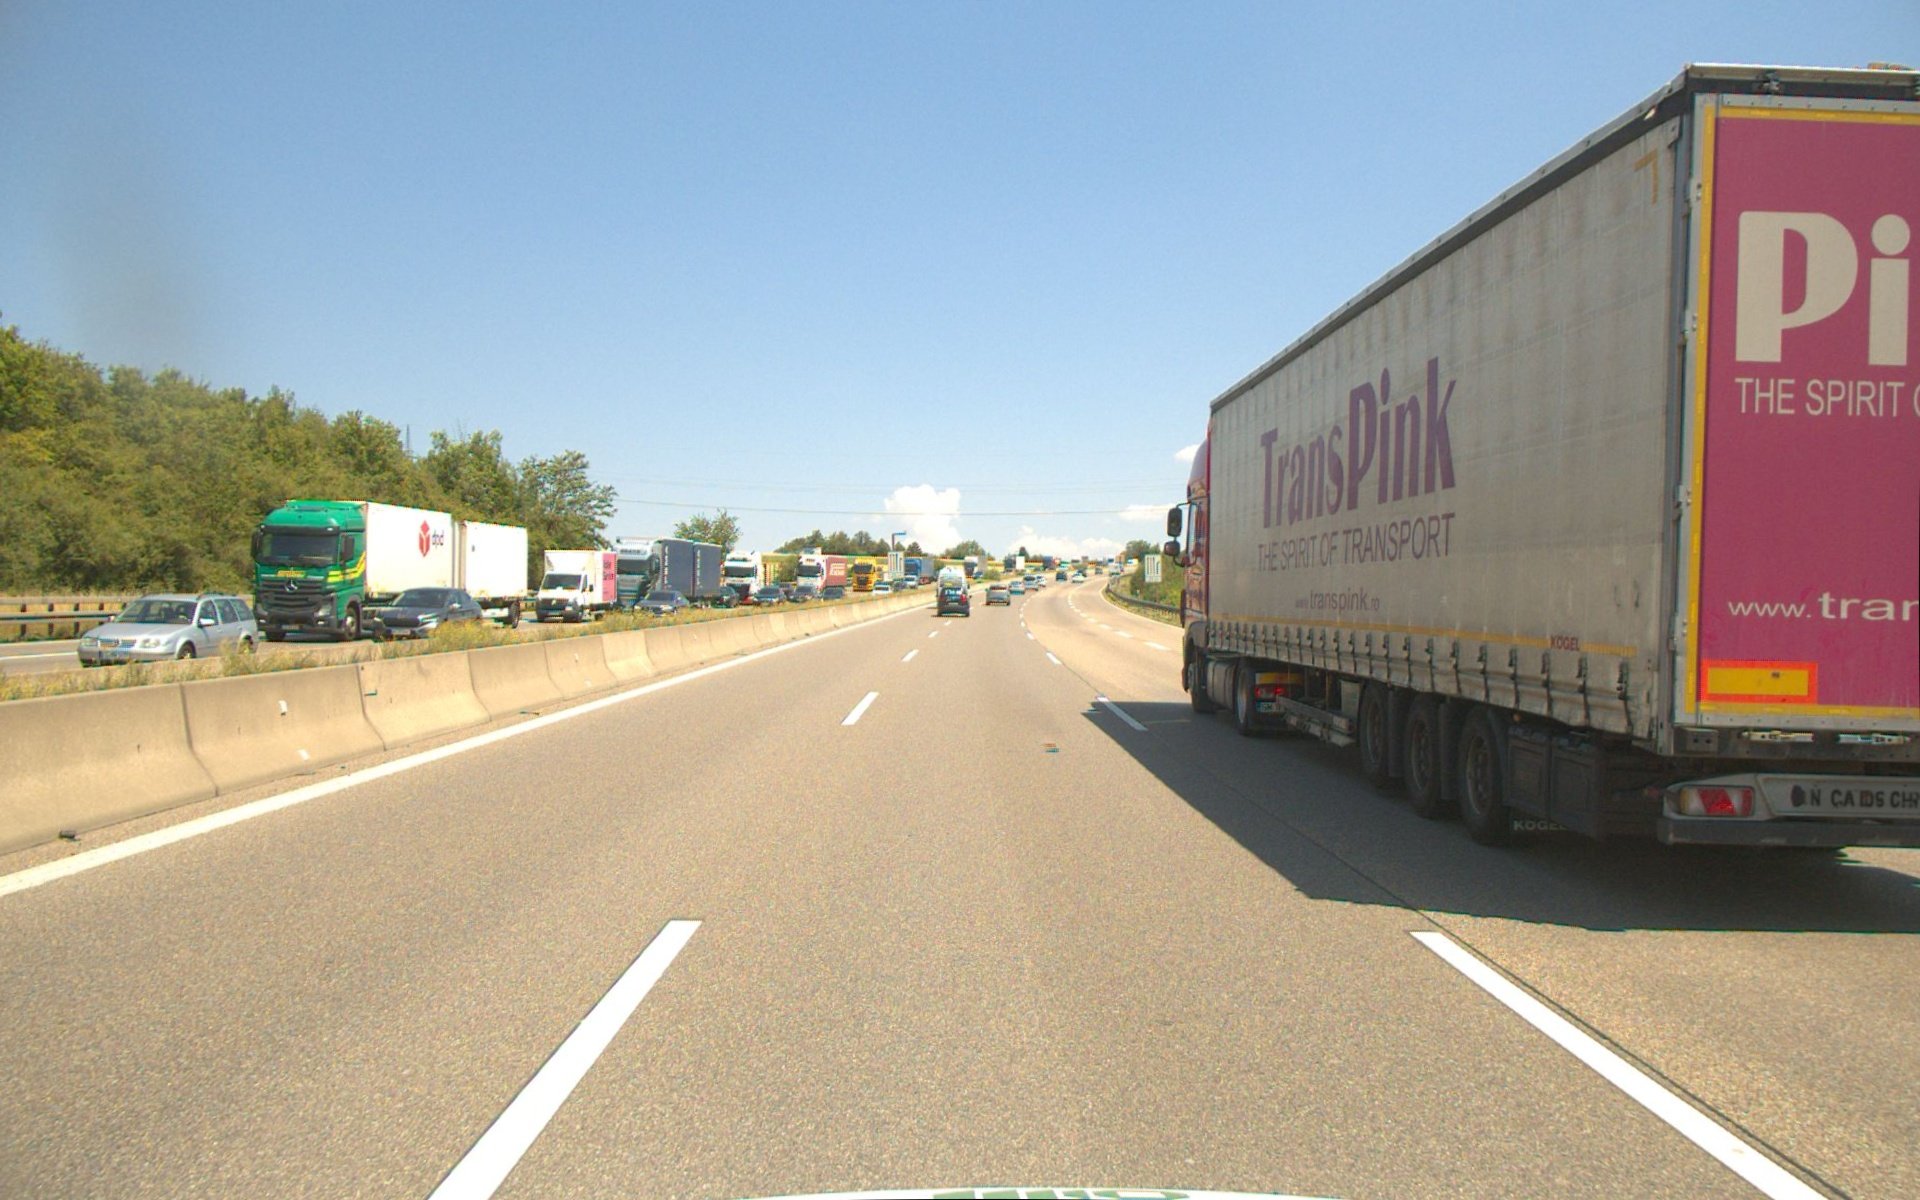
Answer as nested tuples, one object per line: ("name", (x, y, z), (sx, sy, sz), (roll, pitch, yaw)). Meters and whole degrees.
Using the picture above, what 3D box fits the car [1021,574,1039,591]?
("car", (8.579, -2.135, 202.106), (1.953, 1.937, 3.999), (1, -1, -1))

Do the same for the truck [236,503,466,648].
("truck", (-18.541, -0.733, 51.409), (2.784, 3.967, 11.249), (-1, 1, 1))

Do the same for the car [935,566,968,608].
("car", (-0.544, -0.839, 112.103), (2.135, 2.671, 4.672), (1, -1, 0))

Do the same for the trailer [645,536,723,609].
("trailer", (-16.847, -1.663, 101.494), (2.924, 4.266, 8.598), (0, 1, 3))

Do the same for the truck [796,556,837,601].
("truck", (-13.675, -2.053, 157.947), (2.972, 4.153, 6.318), (1, 1, 4))

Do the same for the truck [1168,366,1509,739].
("truck", (4.603, -0.531, 21.574), (2.857, 4.078, 6.510), (1, 0, -1))

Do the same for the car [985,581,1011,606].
("car", (2.920, -0.477, 126.131), (1.952, 1.780, 4.001), (1, -1, 2))

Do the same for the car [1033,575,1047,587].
("car", (11.196, -2.665, 232.096), (1.952, 1.579, 4.002), (2, 2, 3))

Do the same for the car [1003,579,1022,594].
("car", (5.769, -1.448, 180.911), (1.952, 1.613, 4.002), (0, 0, 4))

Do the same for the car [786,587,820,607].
("car", (-11.959, -0.274, 126.219), (1.952, 1.480, 5.171), (0, 0, 1))

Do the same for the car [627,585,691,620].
("car", (-13.968, 0.100, 77.067), (1.952, 1.572, 5.494), (0, 0, 0))

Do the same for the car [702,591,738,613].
("car", (-16.126, 0.126, 111.403), (1.622, 1.456, 4.649), (0, 0, 2))

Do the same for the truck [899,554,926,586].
("truck", (-6.922, -4.489, 242.705), (2.724, 4.410, 10.657), (2, 2, 4))

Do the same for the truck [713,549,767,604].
("truck", (-16.173, -1.727, 121.739), (2.840, 3.944, 6.180), (1, 1, 2))

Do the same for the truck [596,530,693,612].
("truck", (-17.337, -1.585, 91.678), (2.939, 4.308, 10.737), (0, 1, 2))

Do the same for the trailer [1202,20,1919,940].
("trailer", (4.647, -0.549, 14.509), (2.859, 4.189, 13.856), (1, 0, 0))

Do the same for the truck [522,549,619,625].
("truck", (-17.645, -0.615, 75.360), (2.486, 3.263, 7.590), (1, 1, 1))

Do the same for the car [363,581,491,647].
("car", (-14.435, 0.424, 45.086), (1.823, 1.670, 5.113), (0, -1, 0))

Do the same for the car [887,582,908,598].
("car", (-6.402, -1.043, 169.226), (1.799, 1.611, 4.556), (1, 1, 2))

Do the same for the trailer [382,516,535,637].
("trailer", (-18.301, -0.844, 61.003), (2.859, 4.143, 8.232), (-1, 0, 2))

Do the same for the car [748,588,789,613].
("car", (-12.446, 0.001, 107.529), (1.952, 1.554, 4.774), (1, 0, 1))

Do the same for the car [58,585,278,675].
("car", (-14.397, 0.564, 30.403), (1.716, 1.486, 4.857), (1, -1, -1))

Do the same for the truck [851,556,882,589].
("truck", (-11.180, -3.332, 198.400), (2.692, 3.904, 7.103), (1, 1, 5))

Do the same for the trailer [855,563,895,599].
("trailer", (-10.471, -2.448, 205.598), (2.890, 4.171, 14.392), (1, 1, 5))

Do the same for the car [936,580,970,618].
("car", (-0.378, -0.093, 90.357), (1.809, 1.893, 4.206), (0, 2, 0))
